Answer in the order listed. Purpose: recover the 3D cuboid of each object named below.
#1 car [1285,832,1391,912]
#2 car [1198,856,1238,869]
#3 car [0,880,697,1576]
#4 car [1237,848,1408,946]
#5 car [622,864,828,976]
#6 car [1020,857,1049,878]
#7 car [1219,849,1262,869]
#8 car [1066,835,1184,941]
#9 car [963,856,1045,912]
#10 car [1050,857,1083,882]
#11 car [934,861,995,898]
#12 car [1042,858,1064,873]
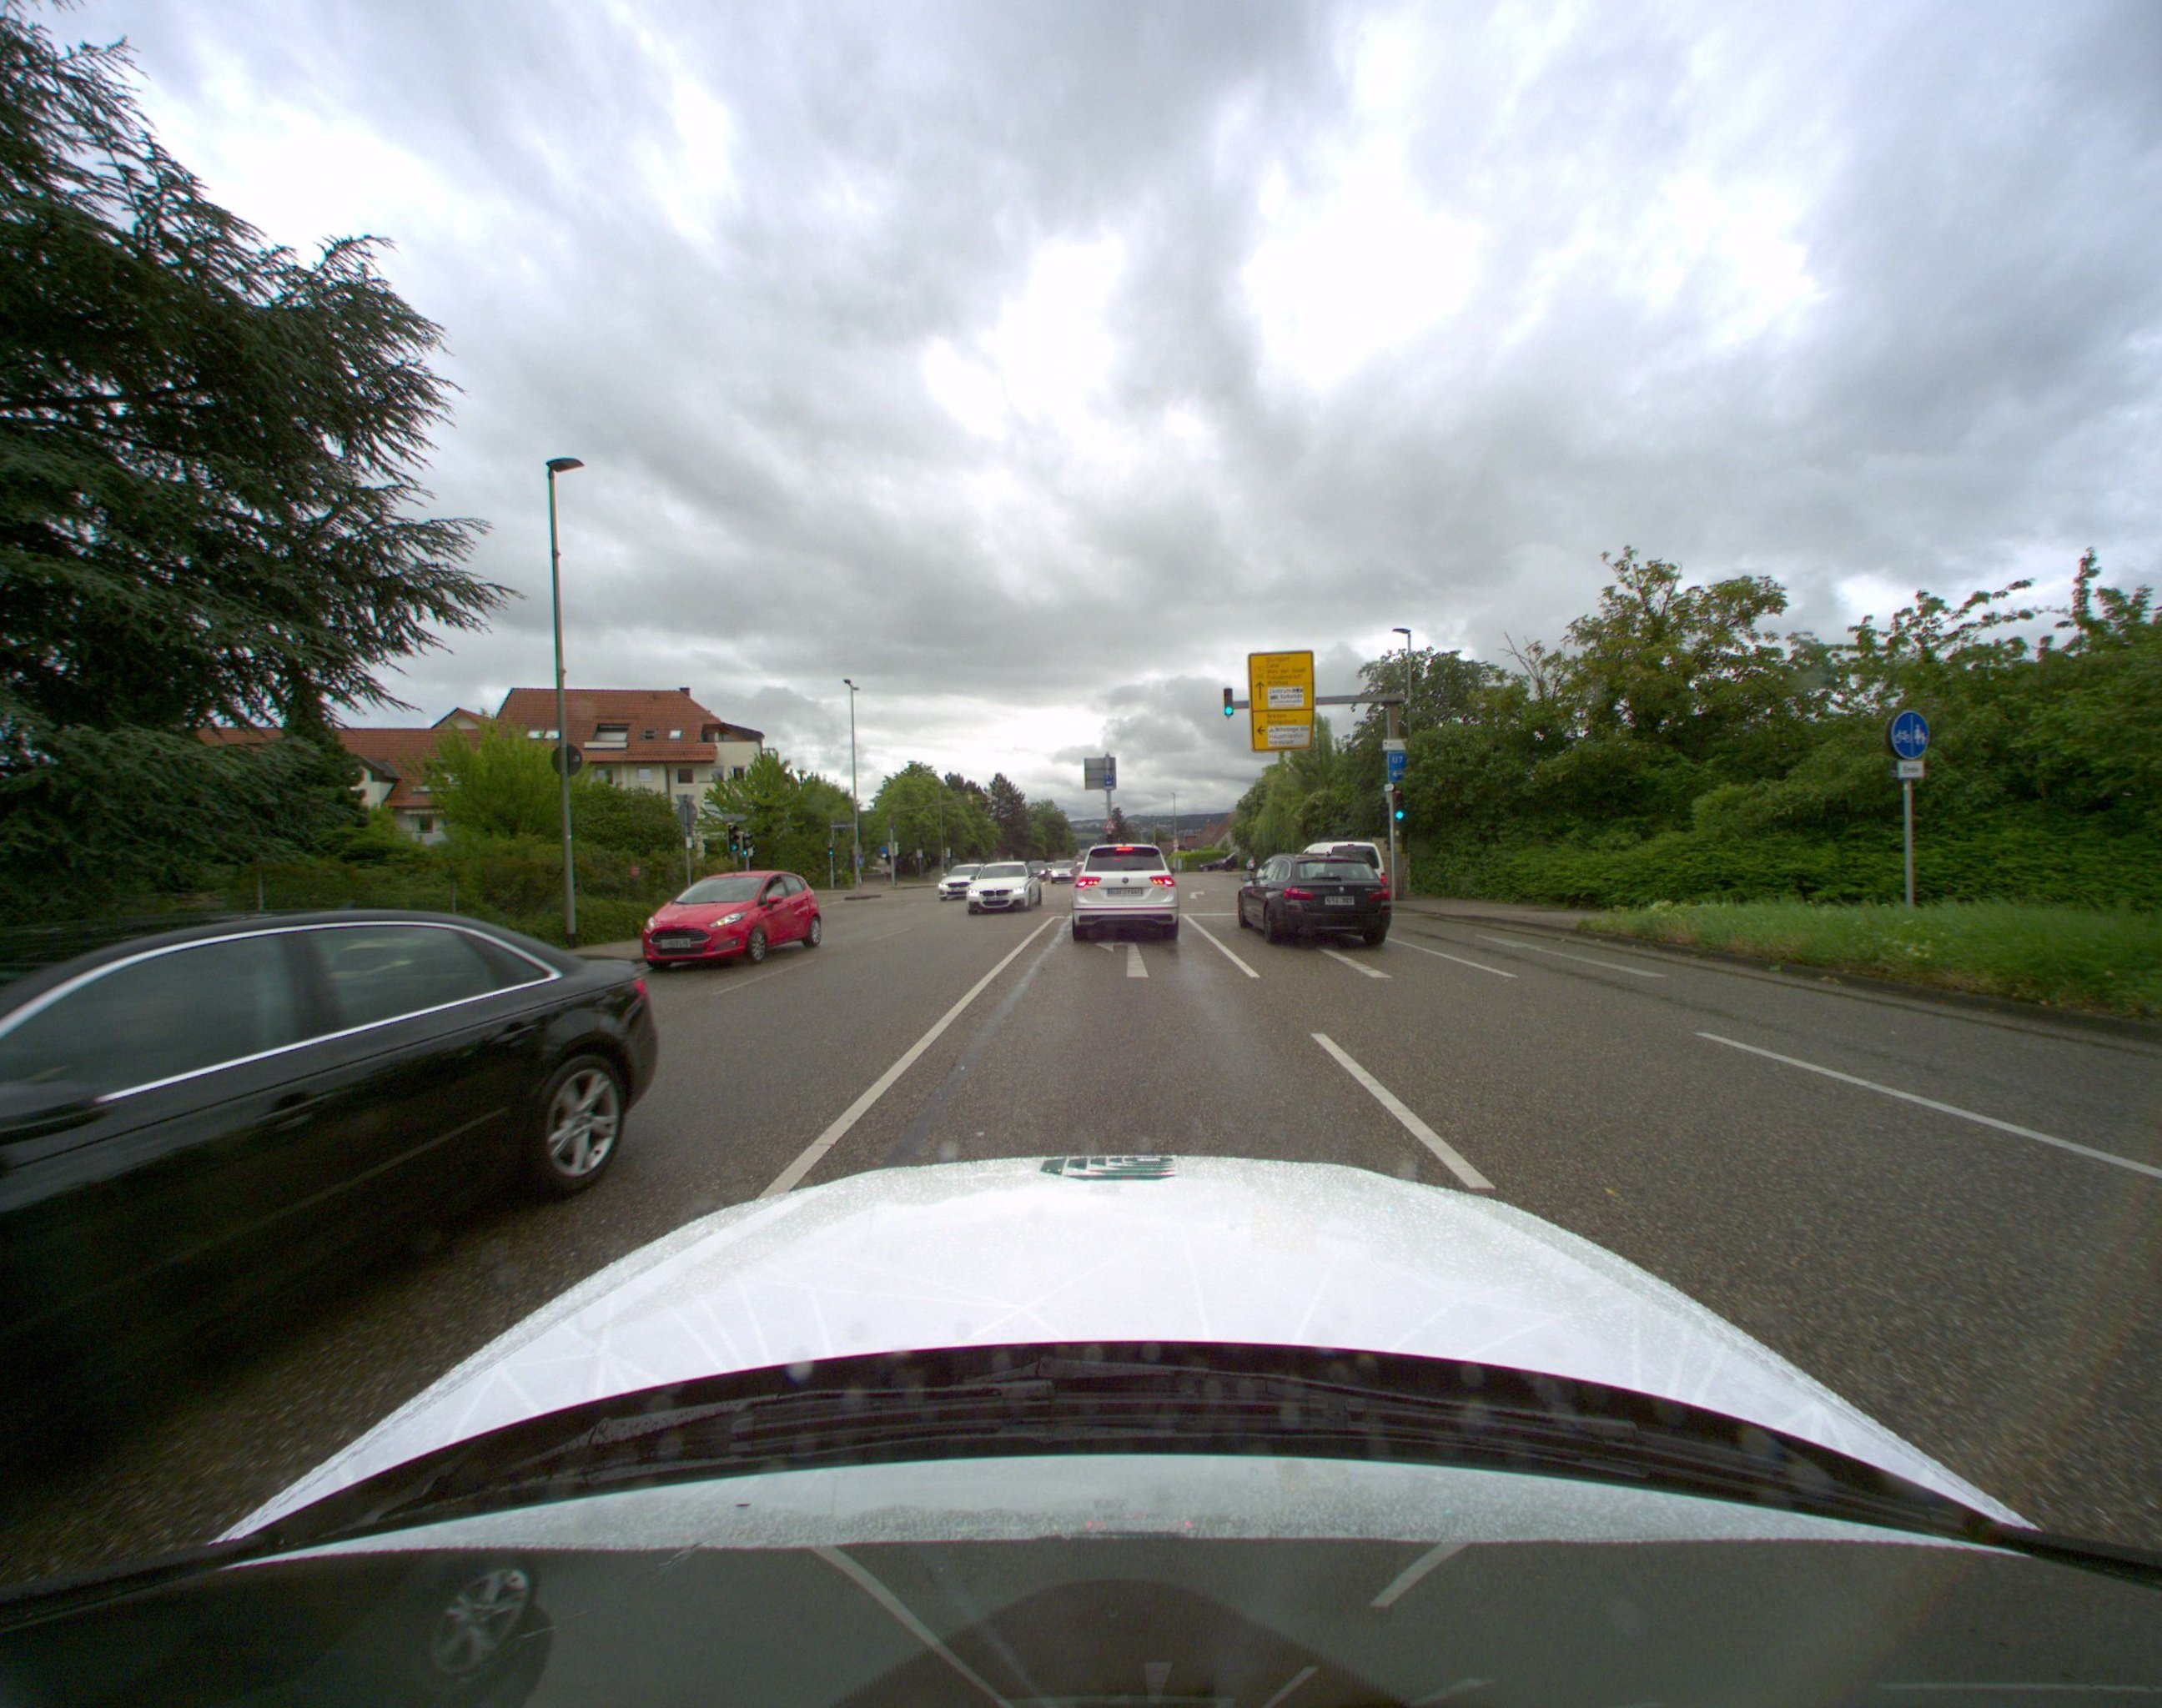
[{"bbox_3d":[6.792,0.385,21.910,1.758,1.877,3.808,-1,2,2],"label":"car"},{"bbox_3d":[14.147,0.873,84.040,3.967,1.376,1.588,-1,0,5],"label":"car"},{"bbox_3d":[-3.280,0.908,2.558,1.885,1.404,4.268,-3,0,3],"label":"car"},{"bbox_3d":[3.941,0.655,14.007,1.891,1.441,4.002,0,-1,2],"label":"car"},{"bbox_3d":[-5.704,0.972,13.587,1.626,1.456,3.704,-4,0,2],"label":"car"},{"bbox_3d":[-3.666,1.043,65.042,1.768,1.458,4.552,-3,0,2],"label":"car"},{"bbox_3d":[15.494,0.479,79.139,3.967,1.956,1.588,-1,0,5],"label":"car"},{"bbox_3d":[0.791,0.573,15.111,1.861,1.674,4.002,-1,-1,2],"label":"car"},{"bbox_3d":[-2.205,0.825,24.535,1.741,1.385,4.414,-4,0,3],"label":"car"},{"bbox_3d":[-0.913,0.998,53.133,1.768,1.458,4.552,-3,0,2],"label":"car"},{"bbox_3d":[-4.903,1.034,34.917,1.768,1.385,4.551,-3,0,2],"label":"car"},{"bbox_3d":[-2.681,1.112,78.907,1.643,1.273,3.625,-2,0,4],"label":"car"}]
